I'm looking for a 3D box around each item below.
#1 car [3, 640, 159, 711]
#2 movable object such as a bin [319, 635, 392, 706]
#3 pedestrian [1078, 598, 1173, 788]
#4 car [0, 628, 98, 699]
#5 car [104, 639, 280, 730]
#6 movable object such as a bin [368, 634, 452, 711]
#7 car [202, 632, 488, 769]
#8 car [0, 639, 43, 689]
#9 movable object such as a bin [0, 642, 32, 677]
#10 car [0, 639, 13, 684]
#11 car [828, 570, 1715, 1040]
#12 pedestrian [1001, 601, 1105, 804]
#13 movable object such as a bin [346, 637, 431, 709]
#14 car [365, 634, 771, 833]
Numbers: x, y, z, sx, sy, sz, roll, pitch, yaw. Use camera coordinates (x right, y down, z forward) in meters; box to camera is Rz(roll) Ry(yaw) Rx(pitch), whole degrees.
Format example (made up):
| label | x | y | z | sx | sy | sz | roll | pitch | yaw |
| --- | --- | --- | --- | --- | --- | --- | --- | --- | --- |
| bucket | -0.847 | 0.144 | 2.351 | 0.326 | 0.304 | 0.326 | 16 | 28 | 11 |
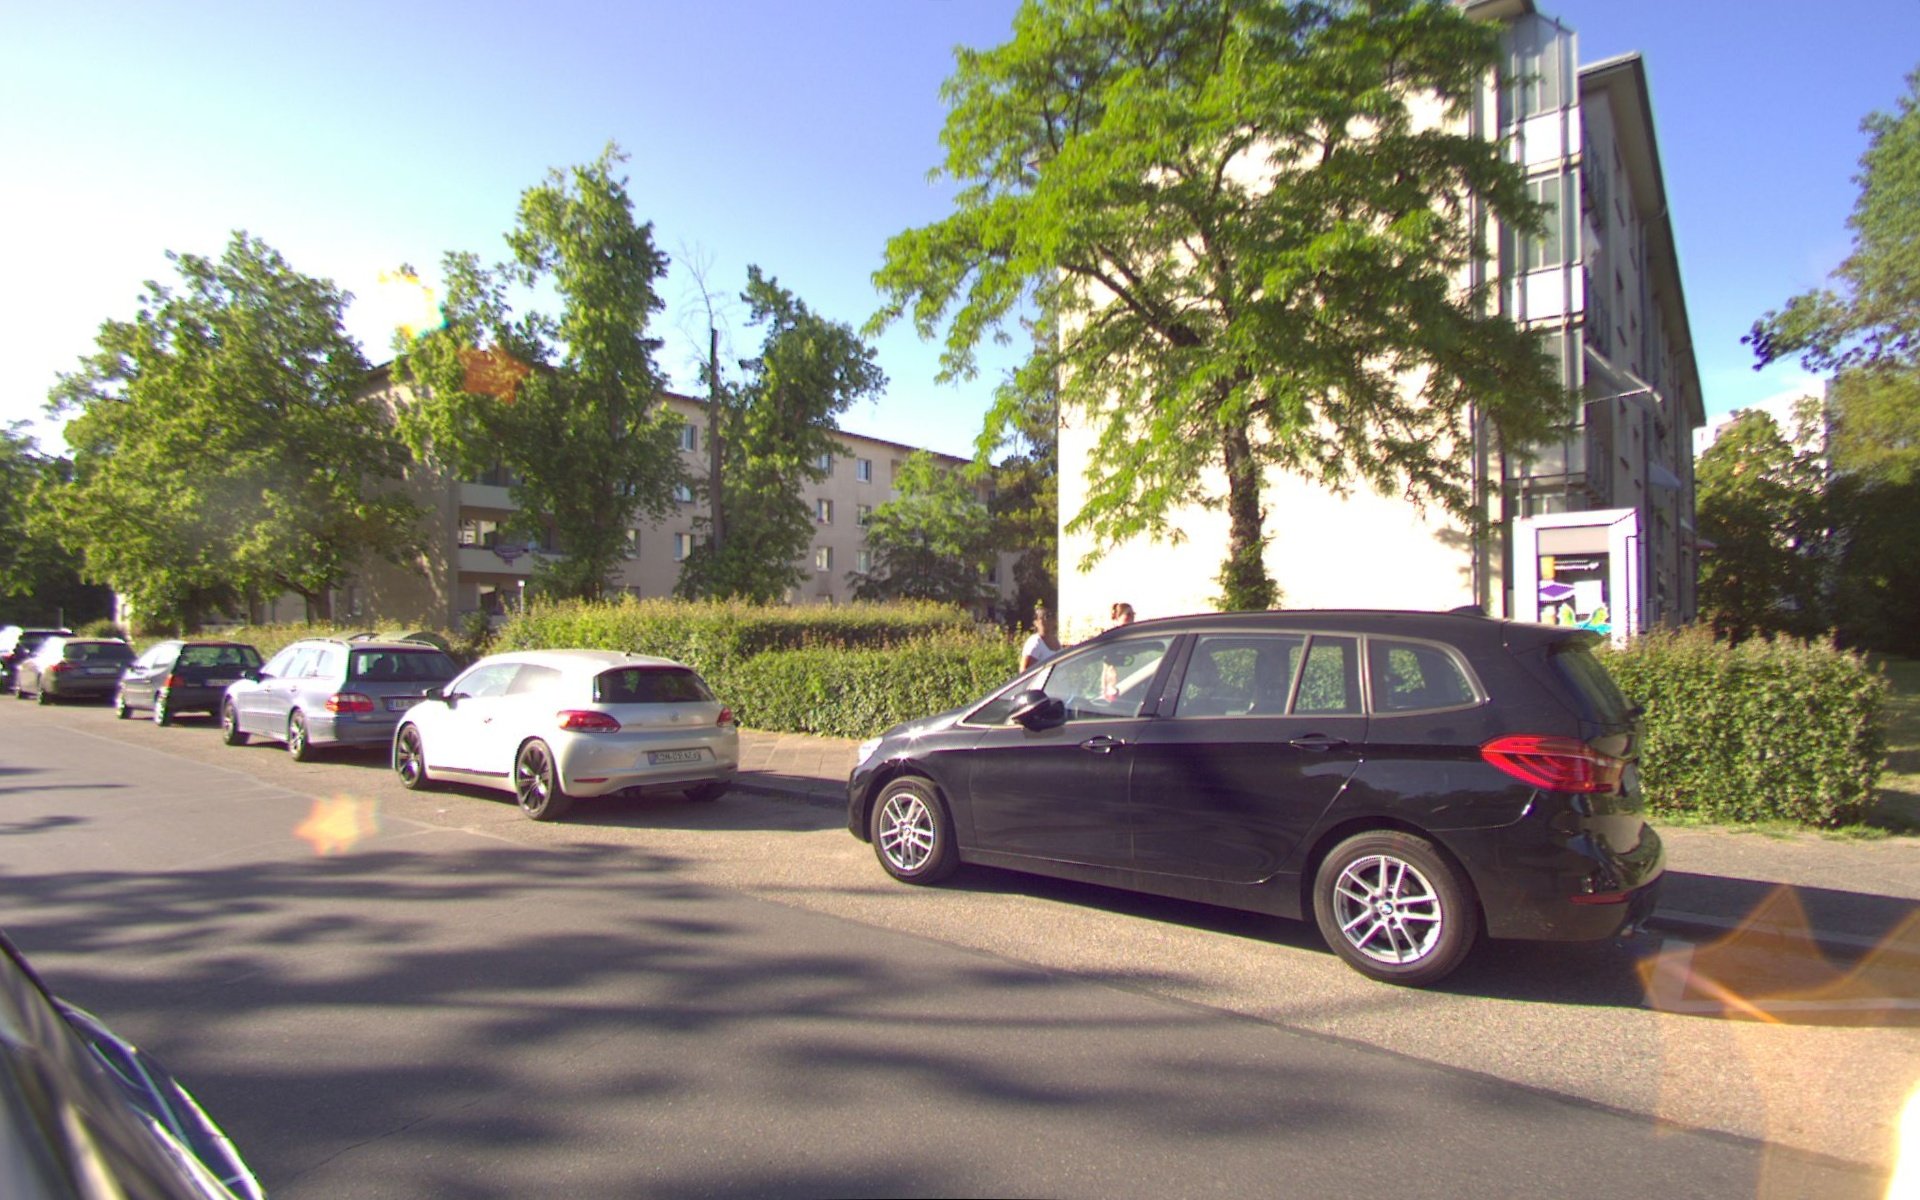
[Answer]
| label | x | y | z | sx | sy | sz | roll | pitch | yaw |
| --- | --- | --- | --- | --- | --- | --- | --- | --- | --- |
| car | -19.996 | 1.649 | 22.961 | 4.667 | 1.396 | 1.737 | -1 | -3 | 38 |
| movable object such as a bin | -13.017 | 1.488 | 21.774 | 1.324 | 1.426 | 0.886 | -2 | 0 | 37 |
| pedestrian | 1.563 | 0.845 | 9.527 | 0.599 | 1.692 | 0.713 | -2 | -2 | 38 |
| car | -24.114 | 1.613 | 26.252 | 4.383 | 1.681 | 1.737 | -2 | -4 | 38 |
| car | -13.865 | 1.460 | 18.232 | 3.490 | 1.475 | 1.633 | -2 | -4 | 38 |
| movable object such as a bin | -10.933 | 1.411 | 20.117 | 1.324 | 1.426 | 0.993 | -2 | 0 | 37 |
| car | -8.286 | 1.256 | 13.428 | 4.897 | 1.501 | 1.736 | -3 | -6 | 40 |
| car | -28.446 | 1.848 | 29.493 | 4.161 | 1.396 | 1.624 | -2 | -4 | 35 |
| movable object such as a bin | -40.322 | 2.515 | 43.104 | 1.261 | 1.426 | 0.887 | -2 | 0 | 34 |
| car | -33.137 | 2.026 | 33.641 | 4.144 | 1.448 | 1.737 | -2 | -4 | 38 |
| car | 1.433 | 0.820 | 5.631 | 4.365 | 1.648 | 1.737 | -2 | -5 | 39 |
| pedestrian | 0.823 | 0.866 | 8.913 | 0.615 | 1.692 | 0.713 | -2 | -2 | 38 |
| movable object such as a bin | -11.884 | 1.496 | 21.060 | 1.255 | 1.376 | 1.109 | -2 | 0 | 37 |
| car | -3.825 | 1.086 | 9.538 | 4.207 | 1.436 | 1.736 | -1 | -4 | 41 |
